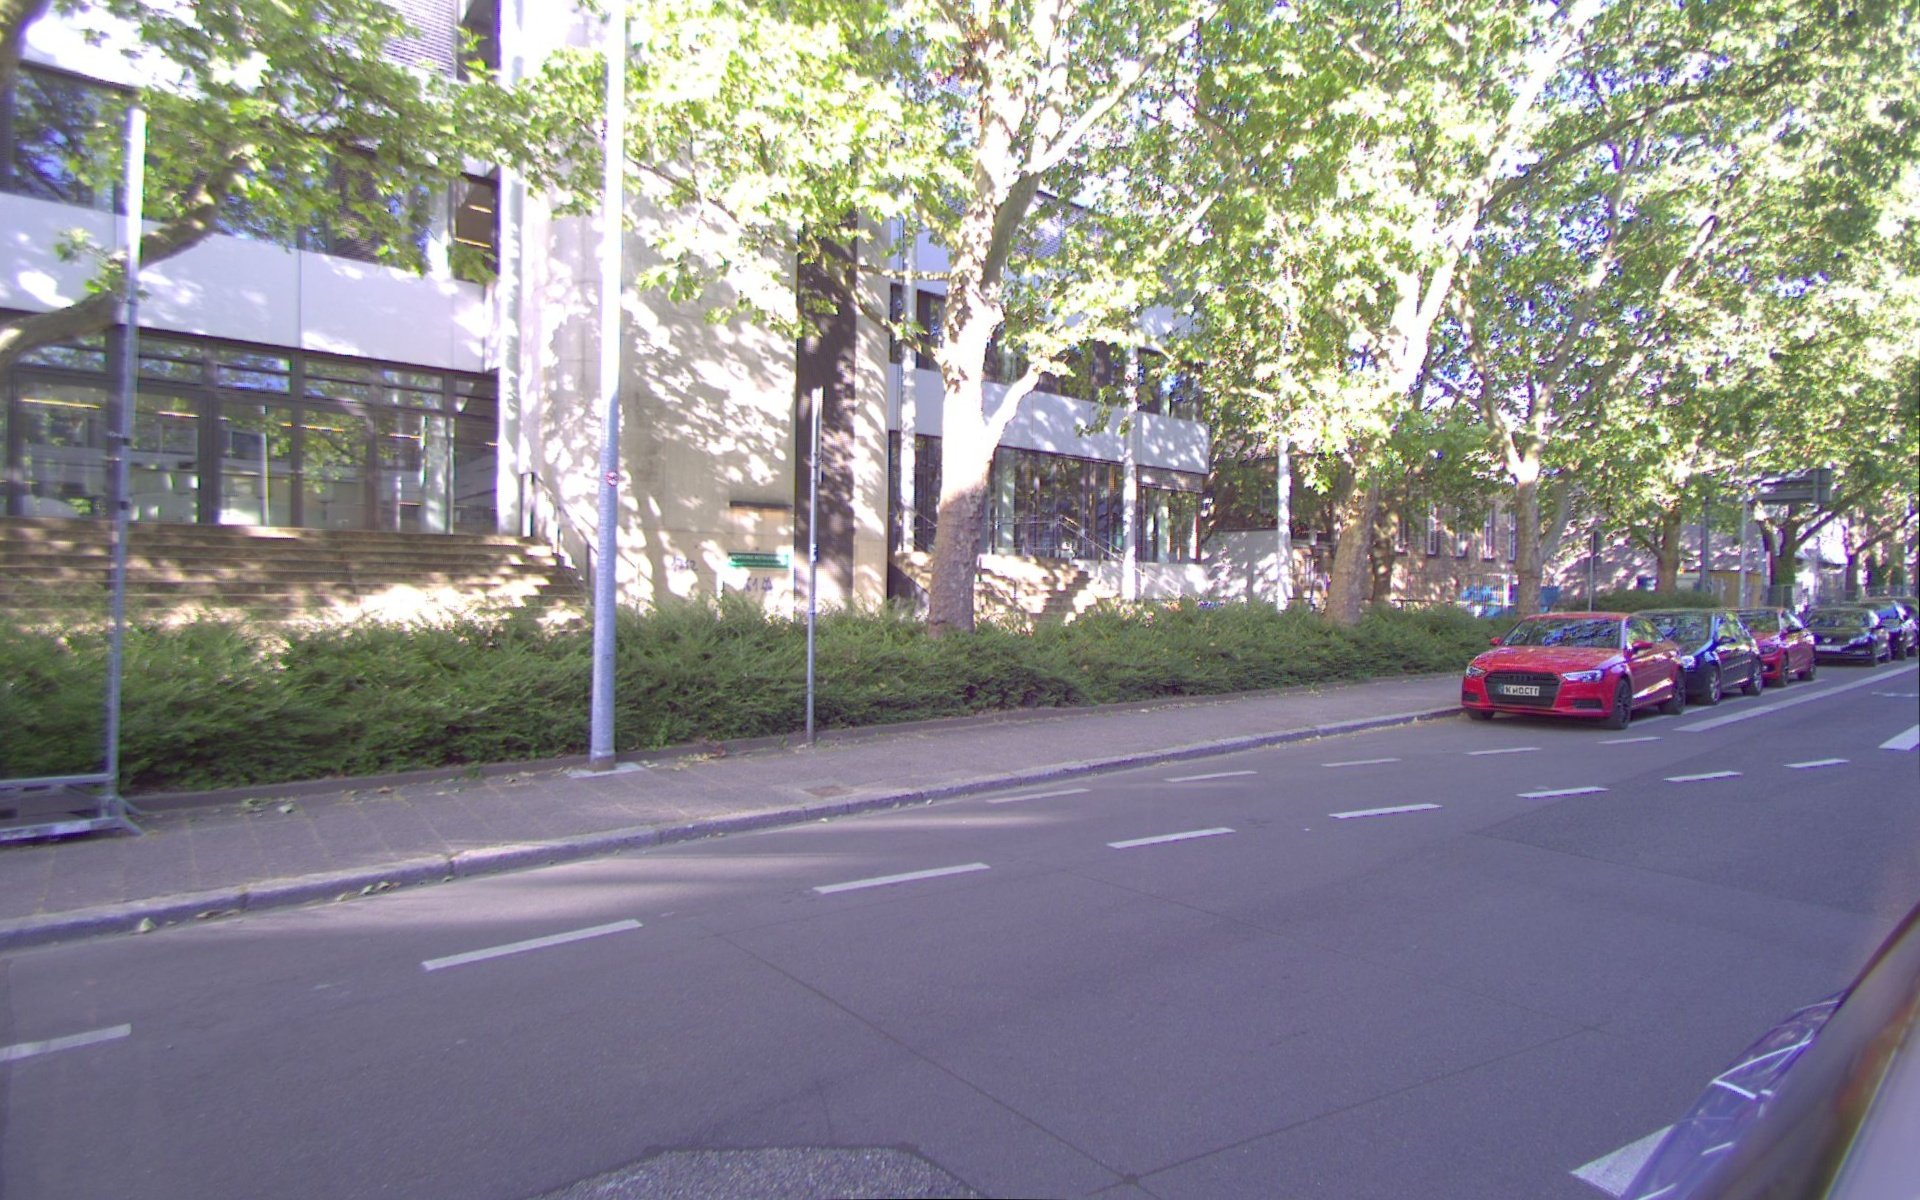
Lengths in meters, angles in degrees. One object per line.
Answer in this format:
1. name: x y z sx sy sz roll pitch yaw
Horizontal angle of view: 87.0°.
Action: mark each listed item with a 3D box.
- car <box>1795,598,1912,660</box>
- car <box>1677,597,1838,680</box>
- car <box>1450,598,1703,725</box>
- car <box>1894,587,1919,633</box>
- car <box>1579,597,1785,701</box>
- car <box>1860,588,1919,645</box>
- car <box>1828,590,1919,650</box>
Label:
1. car: 22.984 0.683 25.998 3.930 1.456 1.744 0 1 -41
2. car: 15.801 0.676 19.982 3.930 1.456 1.789 0 1 -41
3. car: 8.308 0.700 13.492 4.101 1.443 1.773 0 -1 -42
4. car: 35.741 0.366 37.078 4.004 1.638 1.797 0 1 -41
5. car: 11.895 0.699 16.596 3.929 1.475 1.812 0 1 -40
6. car: 31.083 0.485 33.057 4.188 1.747 1.997 -1 0 -41
7. car: 26.648 0.527 29.196 4.158 1.601 1.847 0 1 -41
